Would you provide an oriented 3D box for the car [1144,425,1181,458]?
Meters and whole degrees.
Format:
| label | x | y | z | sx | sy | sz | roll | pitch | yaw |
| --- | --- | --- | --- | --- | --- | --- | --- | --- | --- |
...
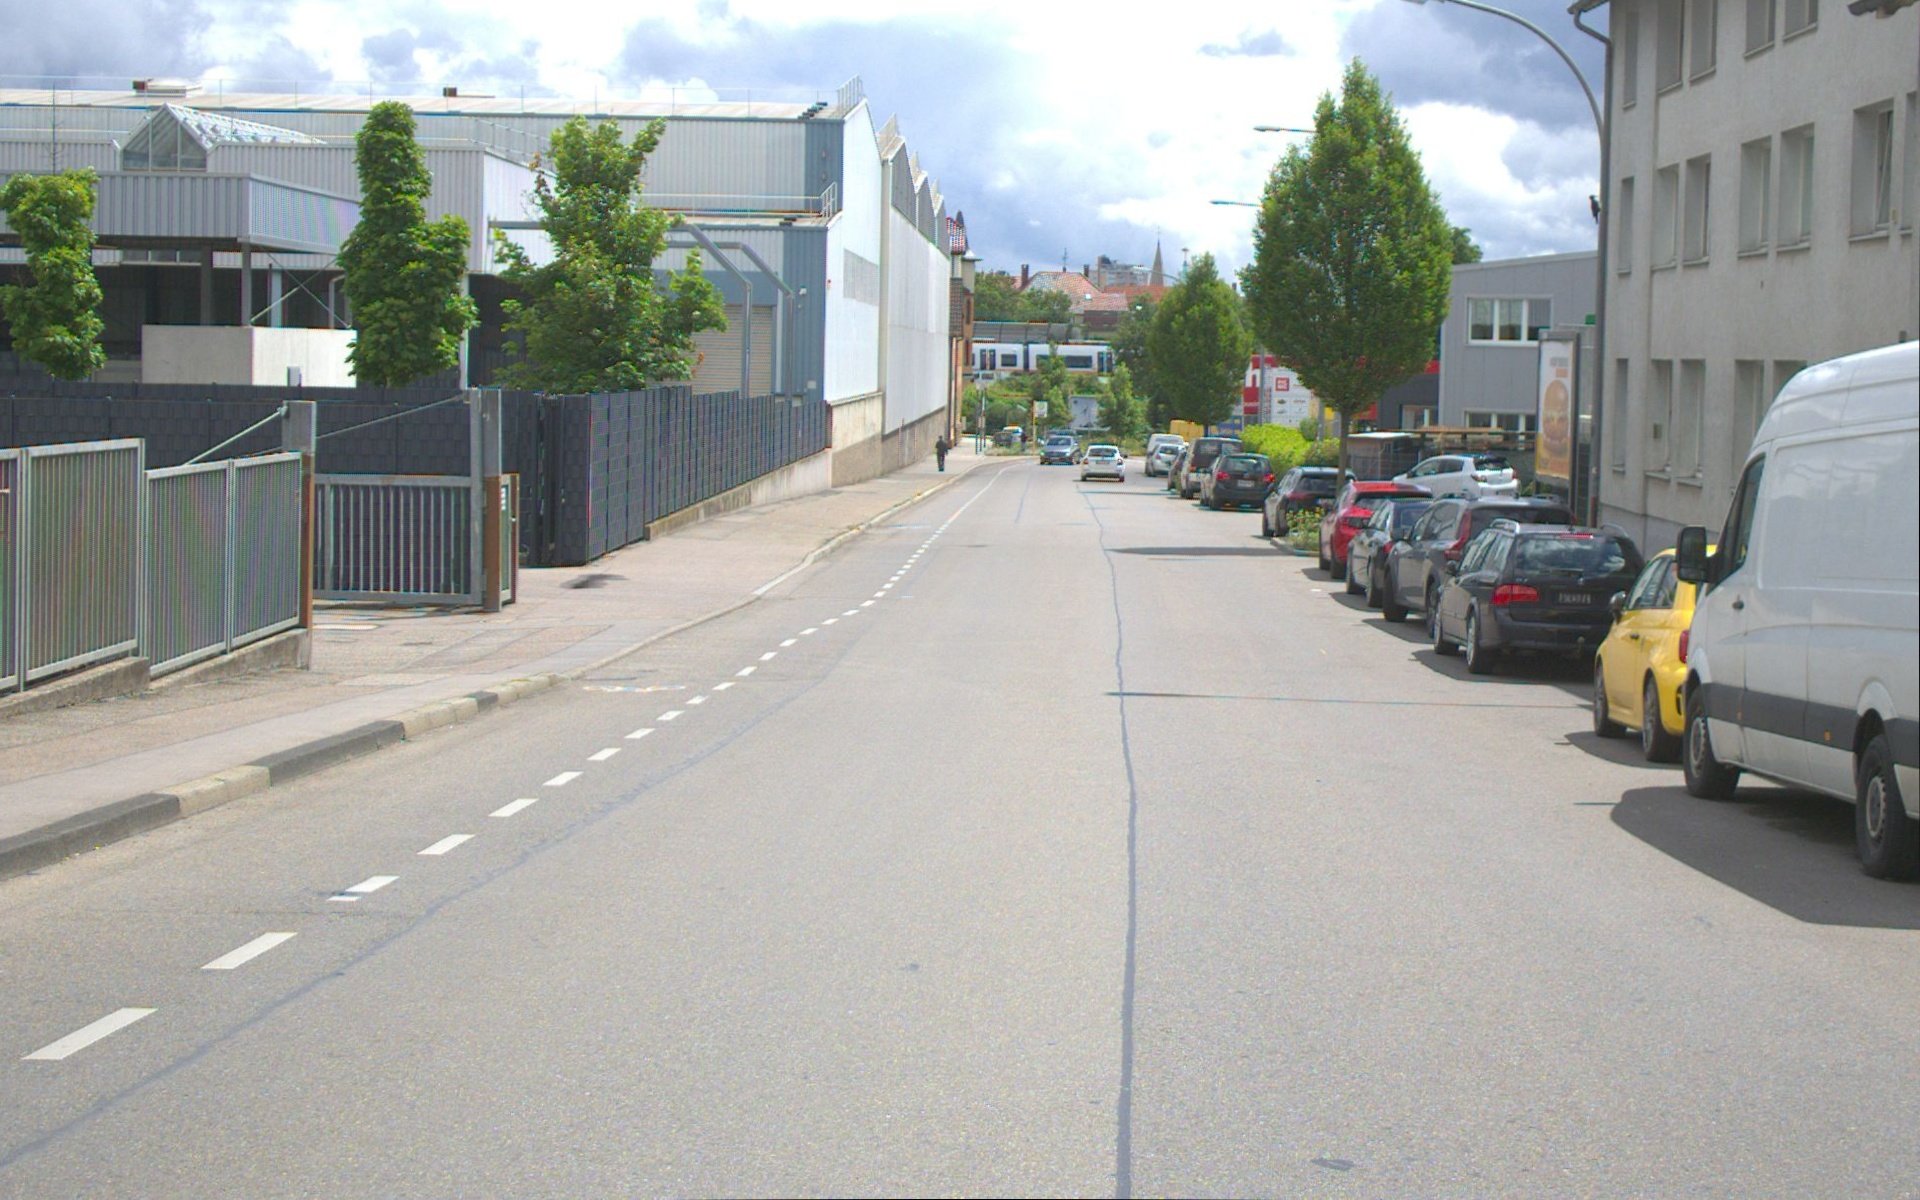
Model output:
| label | x | y | z | sx | sy | sz | roll | pitch | yaw |
| --- | --- | --- | --- | --- | --- | --- | --- | --- | --- |
| car | 9.681 | -7.585 | 164.747 | 1.701 | 1.522 | 3.738 | 2 | 3 | 3 |

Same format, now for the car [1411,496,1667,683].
| label | x | y | z | sx | sy | sz | roll | pitch | yaw |
| --- | --- | --- | --- | --- | --- | --- | --- | --- | --- |
| car | 5.750 | -0.171 | 34.710 | 1.704 | 1.504 | 5.088 | 3 | 3 | 1 |

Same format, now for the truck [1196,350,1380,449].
| label | x | y | z | sx | sy | sz | roll | pitch | yaw |
| --- | --- | --- | --- | --- | --- | --- | --- | --- | --- |
| truck | 15.979 | -9.764 | 167.549 | 8.460 | 4.654 | 2.579 | 2 | 1 | 23 |

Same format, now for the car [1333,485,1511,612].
| label | x | y | z | sx | sy | sz | roll | pitch | yaw |
| --- | --- | --- | --- | --- | --- | --- | --- | --- | --- |
| car | 6.111 | -0.729 | 45.923 | 1.735 | 1.418 | 4.861 | 2 | 3 | 1 |

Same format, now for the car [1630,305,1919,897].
| label | x | y | z | sx | sy | sz | roll | pitch | yaw |
| --- | --- | --- | --- | --- | --- | --- | --- | --- | --- |
| car | 5.307 | -0.026 | 18.304 | 2.033 | 2.632 | 7.283 | 1 | 1 | 0 |

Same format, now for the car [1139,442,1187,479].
| label | x | y | z | sx | sy | sz | roll | pitch | yaw |
| --- | --- | --- | --- | --- | --- | --- | --- | --- | --- |
| car | 9.082 | -6.272 | 154.114 | 1.701 | 1.522 | 3.739 | 4 | 3 | -2 |

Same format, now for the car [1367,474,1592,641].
| label | x | y | z | sx | sy | sz | roll | pitch | yaw |
| --- | --- | --- | --- | --- | --- | --- | --- | --- | --- |
| car | 6.015 | -0.551 | 40.339 | 1.676 | 1.632 | 4.797 | 3 | 3 | -2 |

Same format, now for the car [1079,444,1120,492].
| label | x | y | z | sx | sy | sz | roll | pitch | yaw |
| --- | --- | --- | --- | --- | --- | --- | --- | --- | --- |
| car | 5.565 | -5.260 | 137.465 | 1.567 | 1.780 | 3.605 | 1 | 1 | 1 |

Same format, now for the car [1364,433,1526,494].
| label | x | y | z | sx | sy | sz | roll | pitch | yaw |
| --- | --- | --- | --- | --- | --- | --- | --- | --- | --- |
| car | 12.465 | -3.502 | 88.534 | 1.720 | 1.457 | 4.074 | -4 | 3 | -36 |

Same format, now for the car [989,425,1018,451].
| label | x | y | z | sx | sy | sz | roll | pitch | yaw |
| --- | --- | --- | --- | --- | --- | --- | --- | --- | --- |
| car | 2.803 | -10.412 | 221.303 | 1.853 | 1.481 | 4.000 | 1 | 1 | 1 |

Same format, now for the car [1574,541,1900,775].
| label | x | y | z | sx | sy | sz | roll | pitch | yaw |
| --- | --- | --- | --- | --- | --- | --- | --- | --- | --- |
| car | 5.485 | 0.352 | 24.669 | 1.593 | 1.442 | 3.790 | 1 | 2 | 2 |

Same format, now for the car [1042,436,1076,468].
| label | x | y | z | sx | sy | sz | roll | pitch | yaw |
| --- | --- | --- | --- | --- | --- | --- | --- | --- | --- |
| car | 5.298 | -7.924 | 184.467 | 1.719 | 1.550 | 4.288 | -2 | 1 | 1 |

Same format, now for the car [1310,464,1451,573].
| label | x | y | z | sx | sy | sz | roll | pitch | yaw |
| --- | --- | --- | --- | --- | --- | --- | --- | --- | --- |
| car | 6.391 | -1.276 | 52.611 | 1.735 | 1.467 | 4.262 | 2 | 3 | 2 |

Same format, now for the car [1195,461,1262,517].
| label | x | y | z | sx | sy | sz | roll | pitch | yaw |
| --- | --- | --- | --- | --- | --- | --- | --- | --- | --- |
| car | 7.803 | -3.253 | 100.233 | 1.655 | 1.534 | 4.734 | 1 | 2 | 1 |

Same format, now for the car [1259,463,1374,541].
| label | x | y | z | sx | sy | sz | roll | pitch | yaw |
| --- | --- | --- | --- | --- | --- | --- | --- | --- | --- |
| car | 7.044 | -1.974 | 68.391 | 1.791 | 1.460 | 4.709 | 1 | 2 | 0 |

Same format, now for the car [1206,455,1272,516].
| label | x | y | z | sx | sy | sz | roll | pitch | yaw |
| --- | --- | --- | --- | --- | --- | --- | --- | --- | --- |
| car | 7.709 | -3.183 | 95.152 | 1.679 | 1.632 | 4.123 | 1 | 2 | 3 |

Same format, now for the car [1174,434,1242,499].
| label | x | y | z | sx | sy | sz | roll | pitch | yaw |
| --- | --- | --- | --- | --- | --- | --- | --- | --- | --- |
| car | 7.915 | -4.292 | 110.128 | 1.869 | 1.983 | 5.144 | 1 | 2 | 1 |
